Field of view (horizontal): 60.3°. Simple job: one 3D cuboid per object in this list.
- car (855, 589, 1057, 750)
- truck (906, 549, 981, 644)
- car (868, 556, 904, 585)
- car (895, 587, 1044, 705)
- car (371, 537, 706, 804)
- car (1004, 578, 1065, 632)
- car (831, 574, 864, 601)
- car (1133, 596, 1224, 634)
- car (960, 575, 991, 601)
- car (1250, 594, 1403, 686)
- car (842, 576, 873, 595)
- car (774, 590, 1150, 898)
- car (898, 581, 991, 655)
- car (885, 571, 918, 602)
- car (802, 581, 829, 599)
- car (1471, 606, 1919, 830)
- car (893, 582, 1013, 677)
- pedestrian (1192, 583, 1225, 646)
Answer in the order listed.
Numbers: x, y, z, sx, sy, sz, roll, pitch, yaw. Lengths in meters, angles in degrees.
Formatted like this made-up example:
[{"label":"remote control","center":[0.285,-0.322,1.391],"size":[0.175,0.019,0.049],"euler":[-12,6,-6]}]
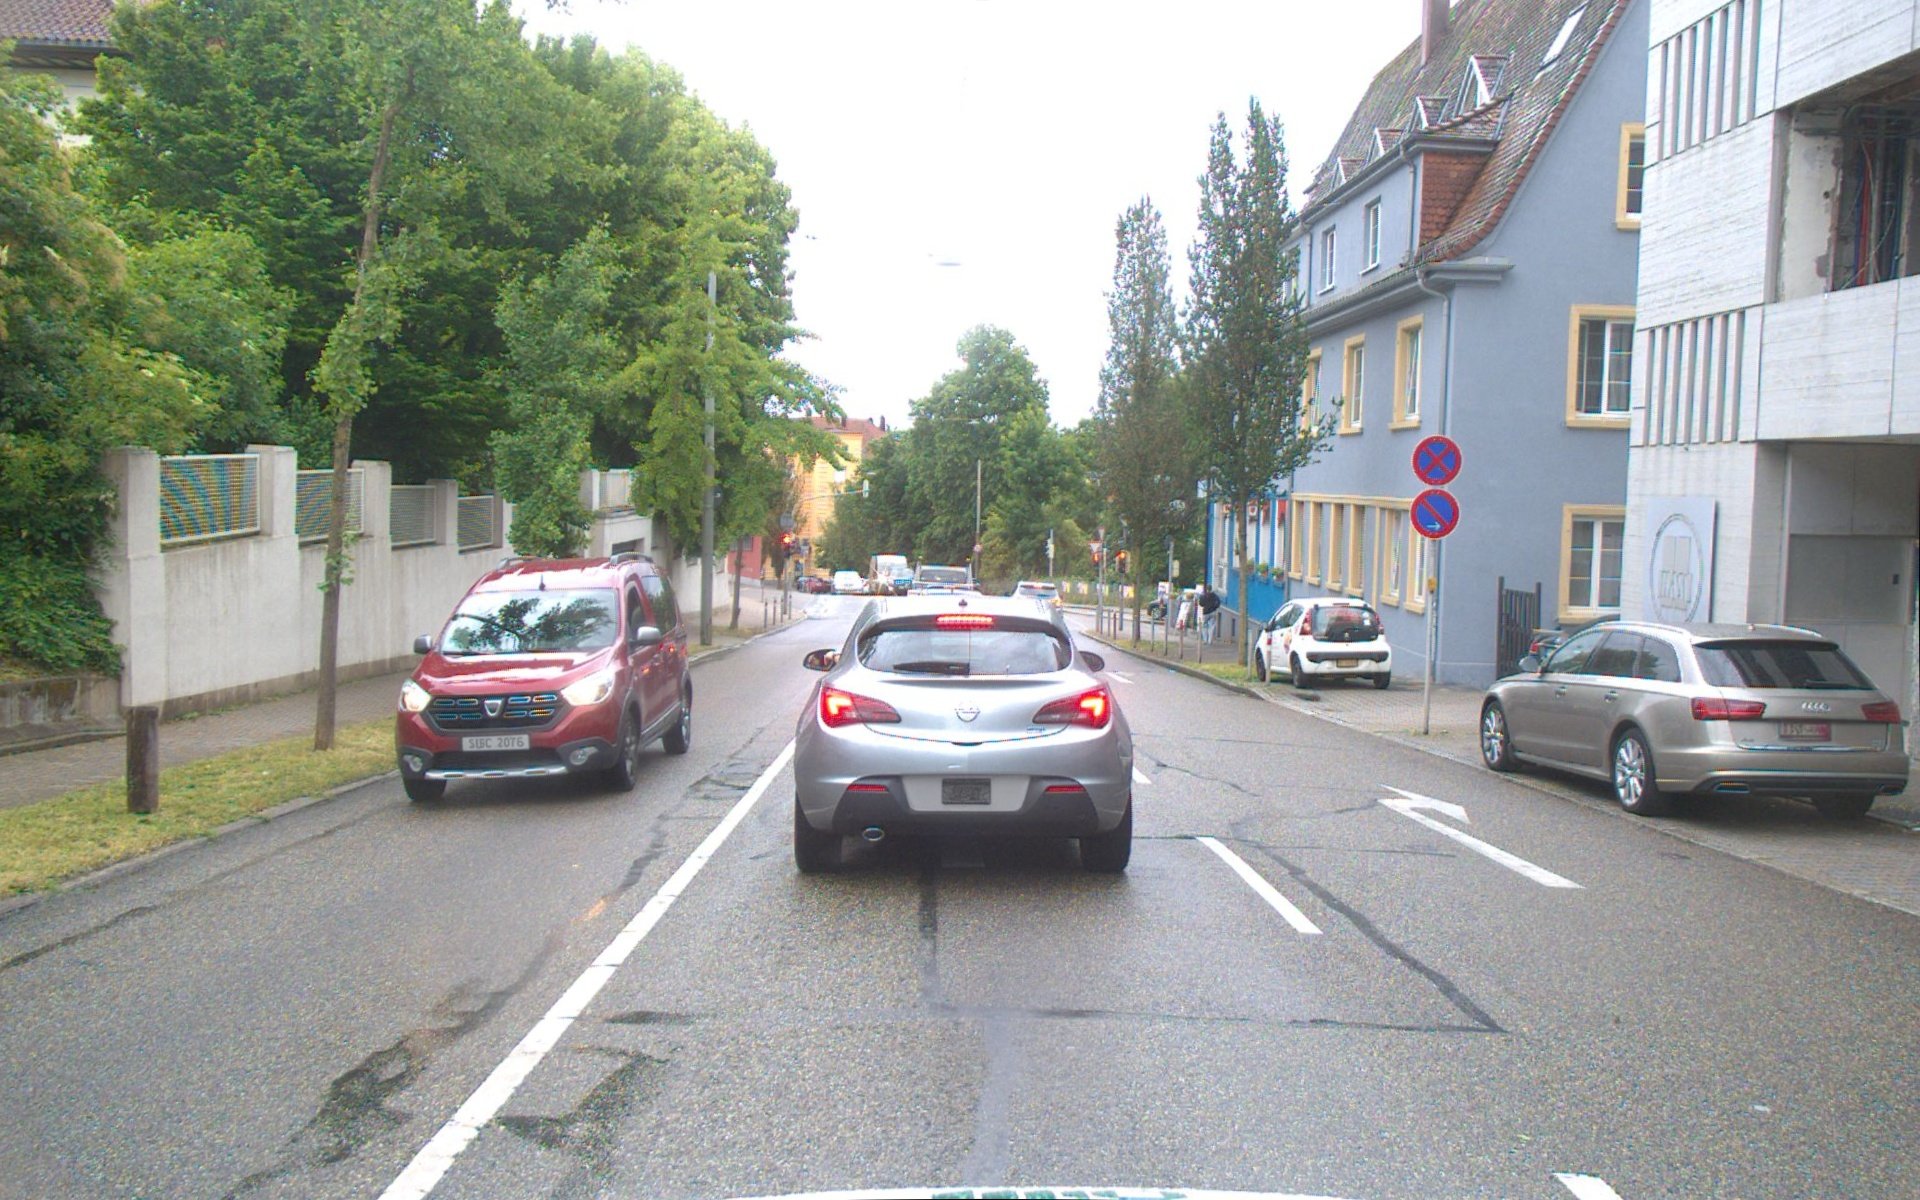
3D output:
[{"label":"car","center":[-0.104,0.664,18.338],"size":[1.922,1.473,4.304],"euler":[2,1,-2]},{"label":"truck","center":[-0.519,-0.130,47.094],"size":[1.922,2.471,4.934],"euler":[2,1,-2]},{"label":"car","center":[-4.496,-1.766,100.189],"size":[1.691,1.666,3.871],"euler":[0,0,-9]},{"label":"car","center":[0.061,0.591,24.062],"size":[1.922,1.473,4.304],"euler":[2,1,-2]},{"label":"car","center":[-3.304,0.493,13.854],"size":[1.711,1.860,4.458],"euler":[-1,0,-1]},{"label":"car","center":[2.446,0.153,55.169],"size":[1.688,1.744,3.878],"euler":[0,0,-3]},{"label":"car","center":[-6.294,-0.710,92.505],"size":[1.688,1.485,3.878],"euler":[0,0,-2]},{"label":"car","center":[10.076,0.684,76.253],"size":[3.795,1.666,1.725],"euler":[1,0,30]},{"label":"car","center":[0.990,-0.797,108.929],"size":[1.689,1.666,3.876],"euler":[0,0,-4]},{"label":"car","center":[6.285,0.639,28.795],"size":[1.688,1.473,3.878],"euler":[0,0,-2]},{"label":"car","center":[-8.627,-1.189,139.225],"size":[1.696,1.570,3.859],"euler":[0,0,-18]},{"label":"car","center":[-0.072,0.689,9.953],"size":[1.800,1.459,3.878],"euler":[1,0,-3]},{"label":"car","center":[-0.400,0.353,37.096],"size":[1.922,1.473,4.304],"euler":[2,1,-2]},{"label":"car","center":[-3.263,-0.762,92.571],"size":[1.833,1.666,3.878],"euler":[0,0,-2]},{"label":"car","center":[-13.789,-0.973,157.912],"size":[1.696,1.666,3.859],"euler":[0,0,-18]},{"label":"car","center":[6.051,0.847,13.910],"size":[1.923,1.473,4.524],"euler":[1,1,-3]},{"label":"car","center":[-0.182,0.465,29.438],"size":[1.922,1.473,4.304],"euler":[2,1,-2]},{"label":"pedestrian","center":[7.209,0.417,47.982],"size":[0.767,1.759,0.650],"euler":[2,0,-1]}]
